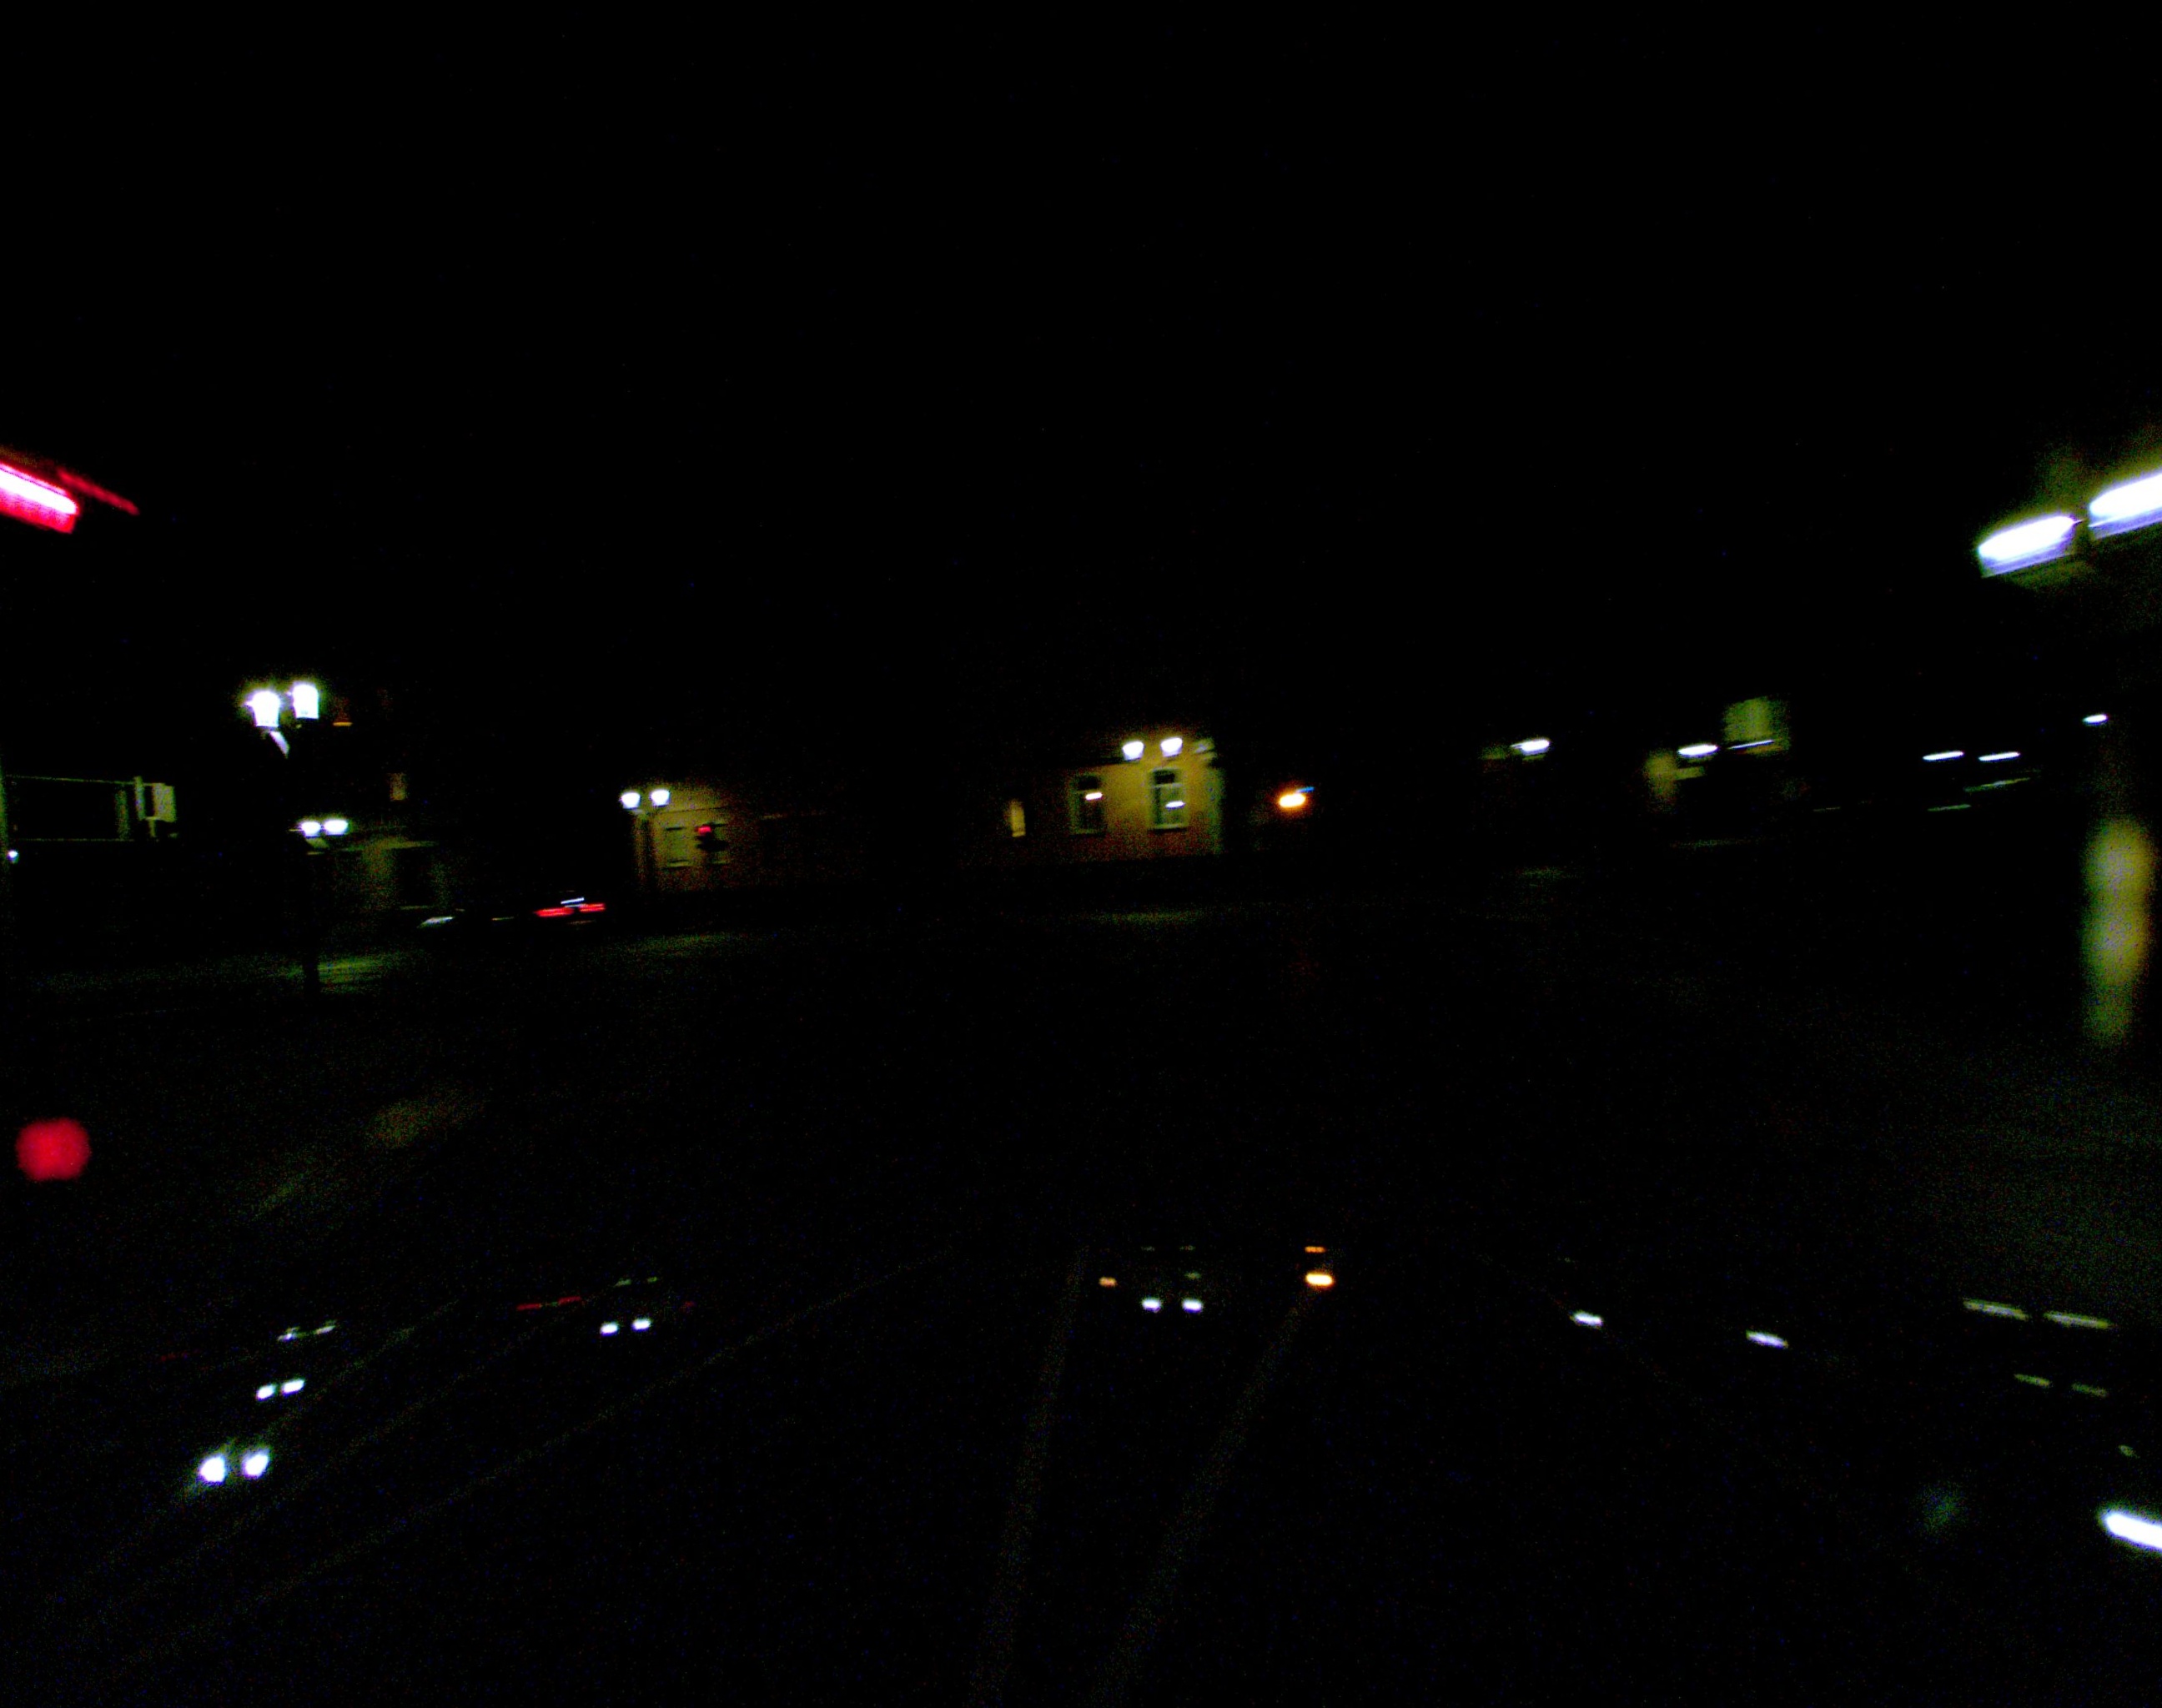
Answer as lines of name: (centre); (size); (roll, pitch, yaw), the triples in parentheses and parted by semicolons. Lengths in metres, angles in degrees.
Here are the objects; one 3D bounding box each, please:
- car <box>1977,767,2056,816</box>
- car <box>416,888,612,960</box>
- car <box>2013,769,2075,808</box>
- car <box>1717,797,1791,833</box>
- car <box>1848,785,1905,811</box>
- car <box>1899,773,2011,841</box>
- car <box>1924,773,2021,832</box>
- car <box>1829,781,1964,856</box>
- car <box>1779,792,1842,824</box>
car: (41.832, -2.792, 33.962); (4.183, 1.897, 1.925); (-5, 1, -36)
car: (-15.802, 1.922, 21.288); (4.237, 1.576, 1.742); (-4, 1, 6)
car: (53.660, -3.642, 42.324); (4.183, 1.897, 1.925); (-5, 1, -36)
car: (33.370, -1.946, 37.653); (4.006, 1.510, 1.731); (-5, 1, -34)
car: (54.487, -3.836, 51.999); (4.006, 1.510, 1.995); (-5, 1, -34)
car: (28.063, -1.541, 24.365); (4.183, 1.897, 1.925); (-5, 1, -36)
car: (33.027, -1.917, 28.125); (4.183, 1.897, 1.925); (-5, 1, -36)
car: (22.090, -0.977, 20.538); (4.183, 1.740, 1.925); (-5, 1, -36)
car: (41.206, -2.604, 42.916); (4.006, 1.510, 1.708); (-5, 1, -34)
